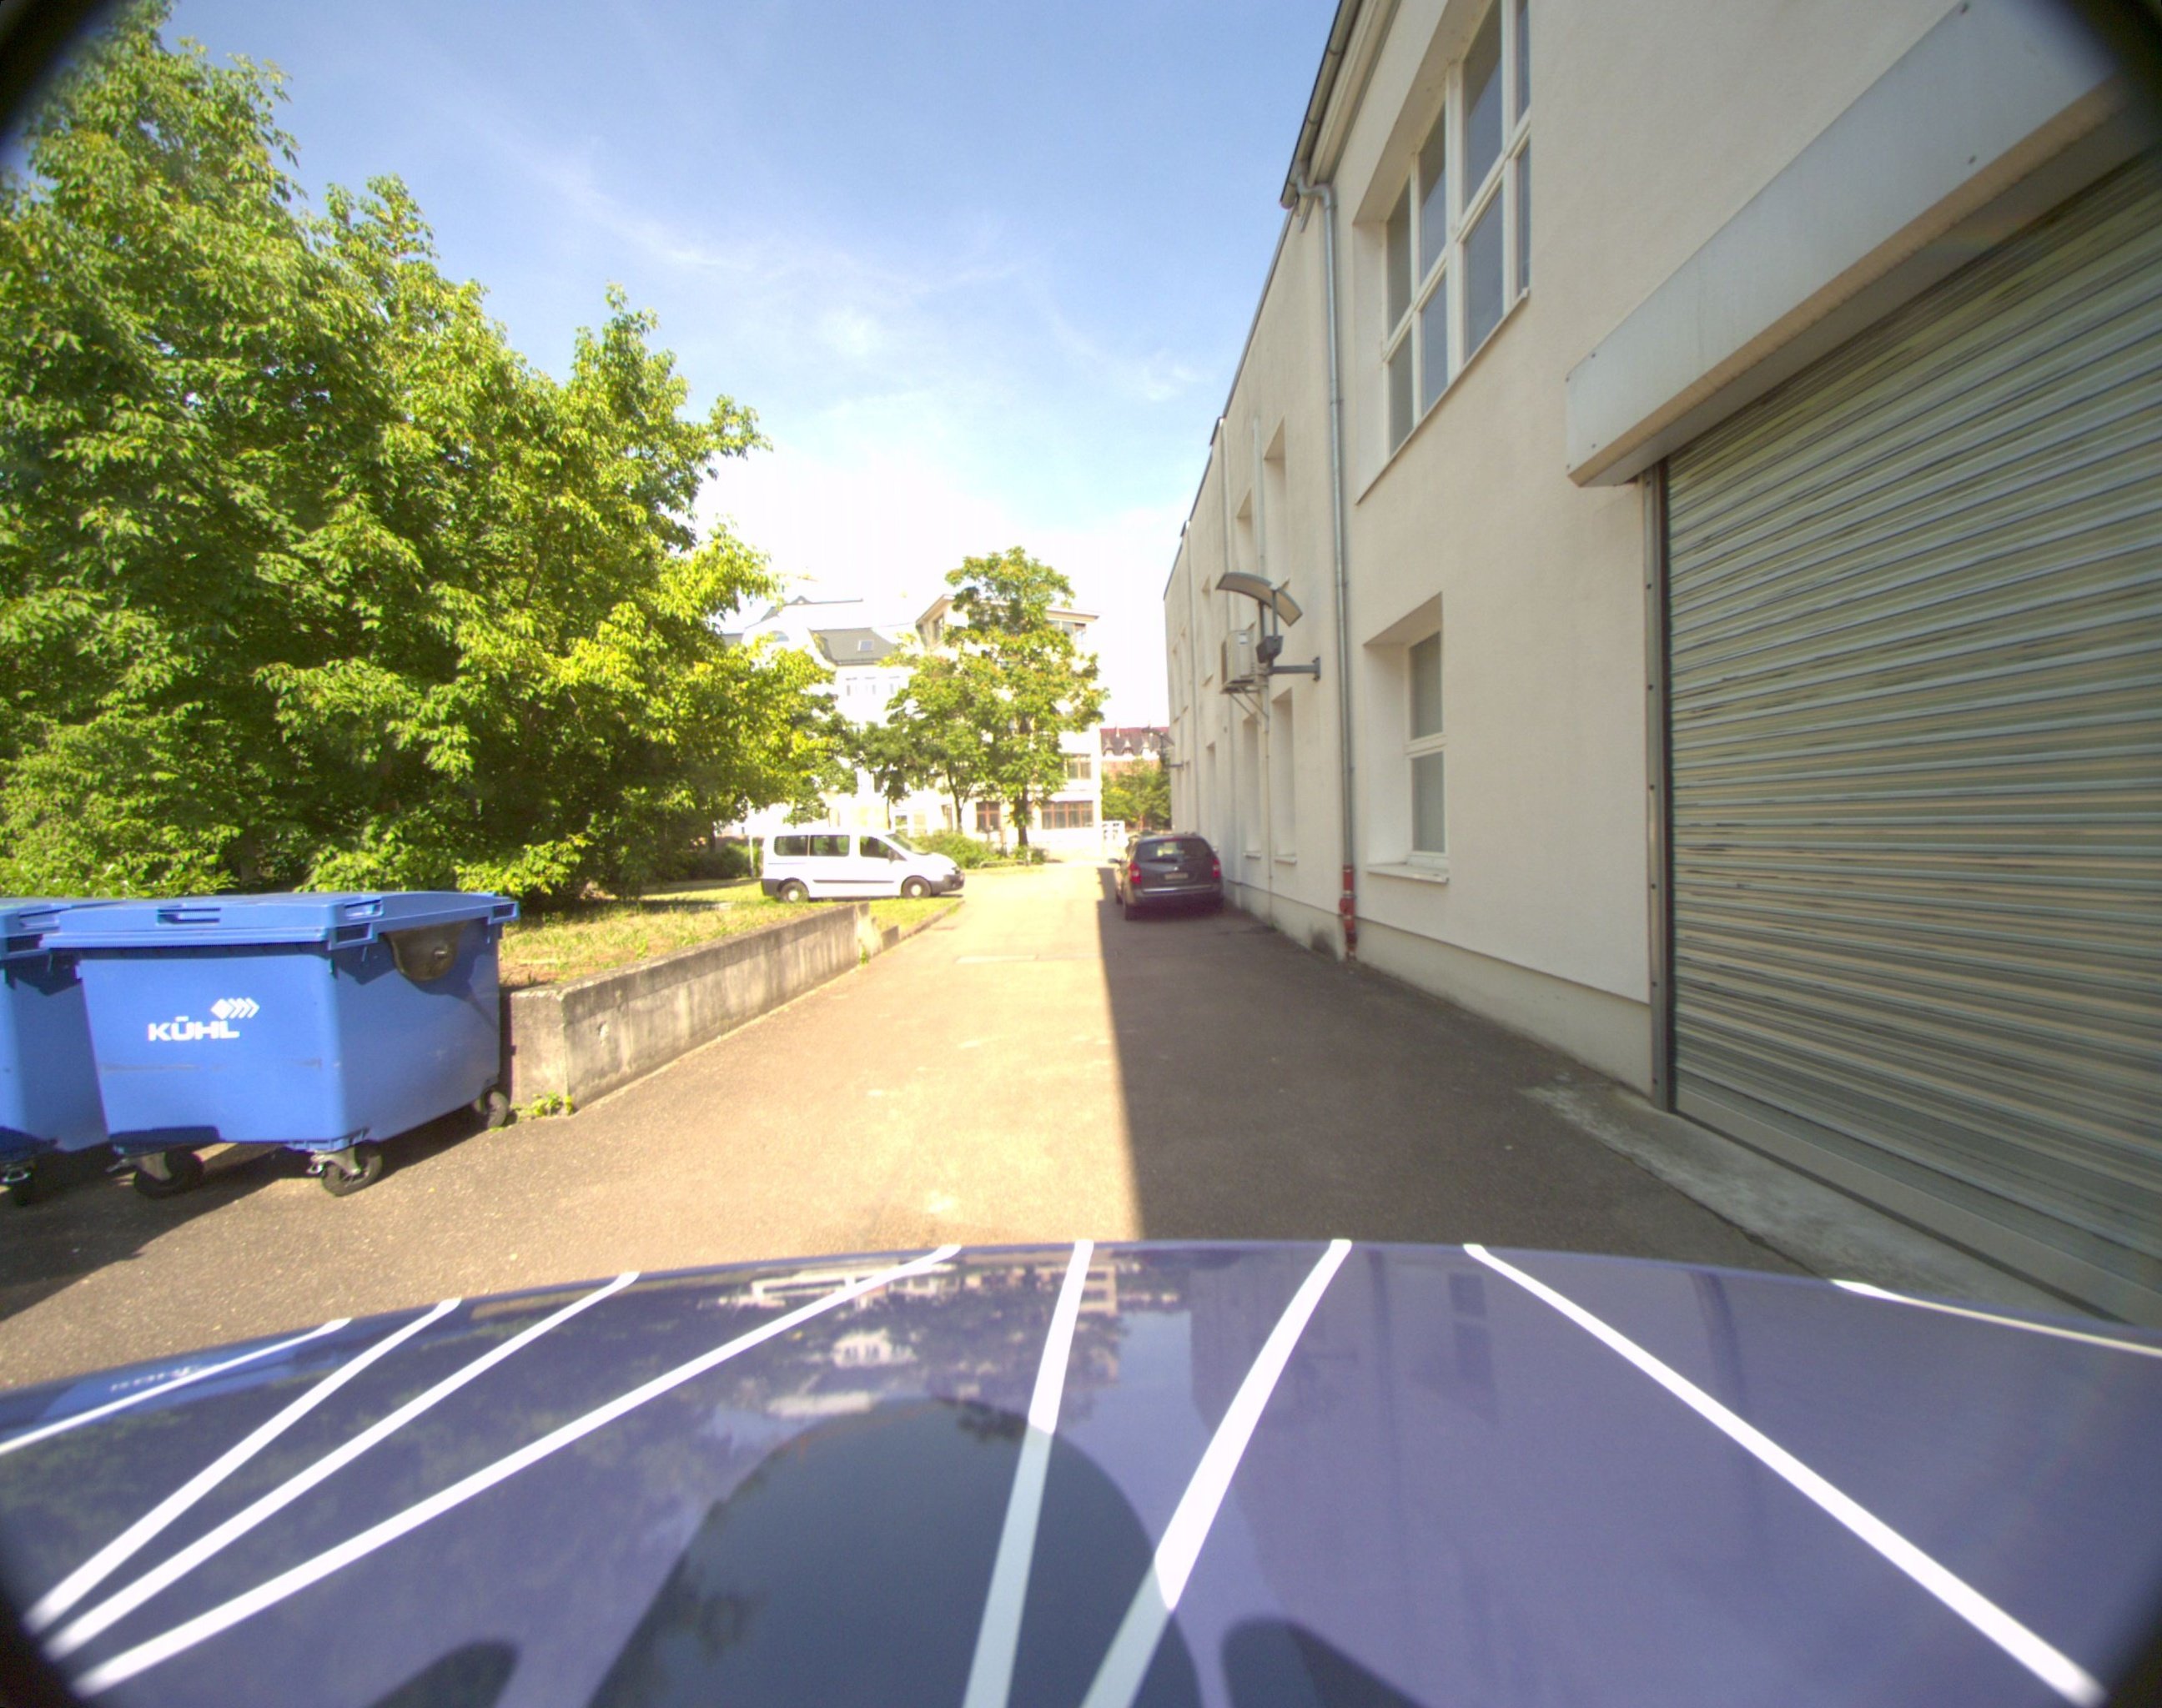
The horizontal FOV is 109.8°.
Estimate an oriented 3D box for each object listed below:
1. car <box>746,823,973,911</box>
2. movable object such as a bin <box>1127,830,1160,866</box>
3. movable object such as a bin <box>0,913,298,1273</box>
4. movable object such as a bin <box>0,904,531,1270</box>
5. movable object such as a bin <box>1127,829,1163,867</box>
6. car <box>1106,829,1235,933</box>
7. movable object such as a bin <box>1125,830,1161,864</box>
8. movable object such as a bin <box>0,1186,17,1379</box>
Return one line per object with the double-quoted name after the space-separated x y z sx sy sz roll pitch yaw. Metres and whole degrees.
-5.463 0.289 19.220 5.036 1.922 2.000 -2 2 2 "car"
2.581 -0.278 31.540 1.247 1.423 1.365 -2 2 0 "movable object such as a bin"
-4.970 1.023 3.605 1.250 1.333 1.142 -1 2 3 "movable object such as a bin"
-3.660 0.962 3.566 1.250 1.312 1.142 0 4 2 "movable object such as a bin"
2.523 -0.237 30.030 1.247 1.423 1.349 -2 2 0 "movable object such as a bin"
1.522 0.362 14.498 1.841 1.434 4.427 -4 4 0 "car"
2.661 -0.308 32.927 1.248 1.423 1.222 -2 2 -10 "movable object such as a bin"
-4.021 1.013 1.808 1.250 1.348 1.128 -2 2 -2 "movable object such as a bin"
